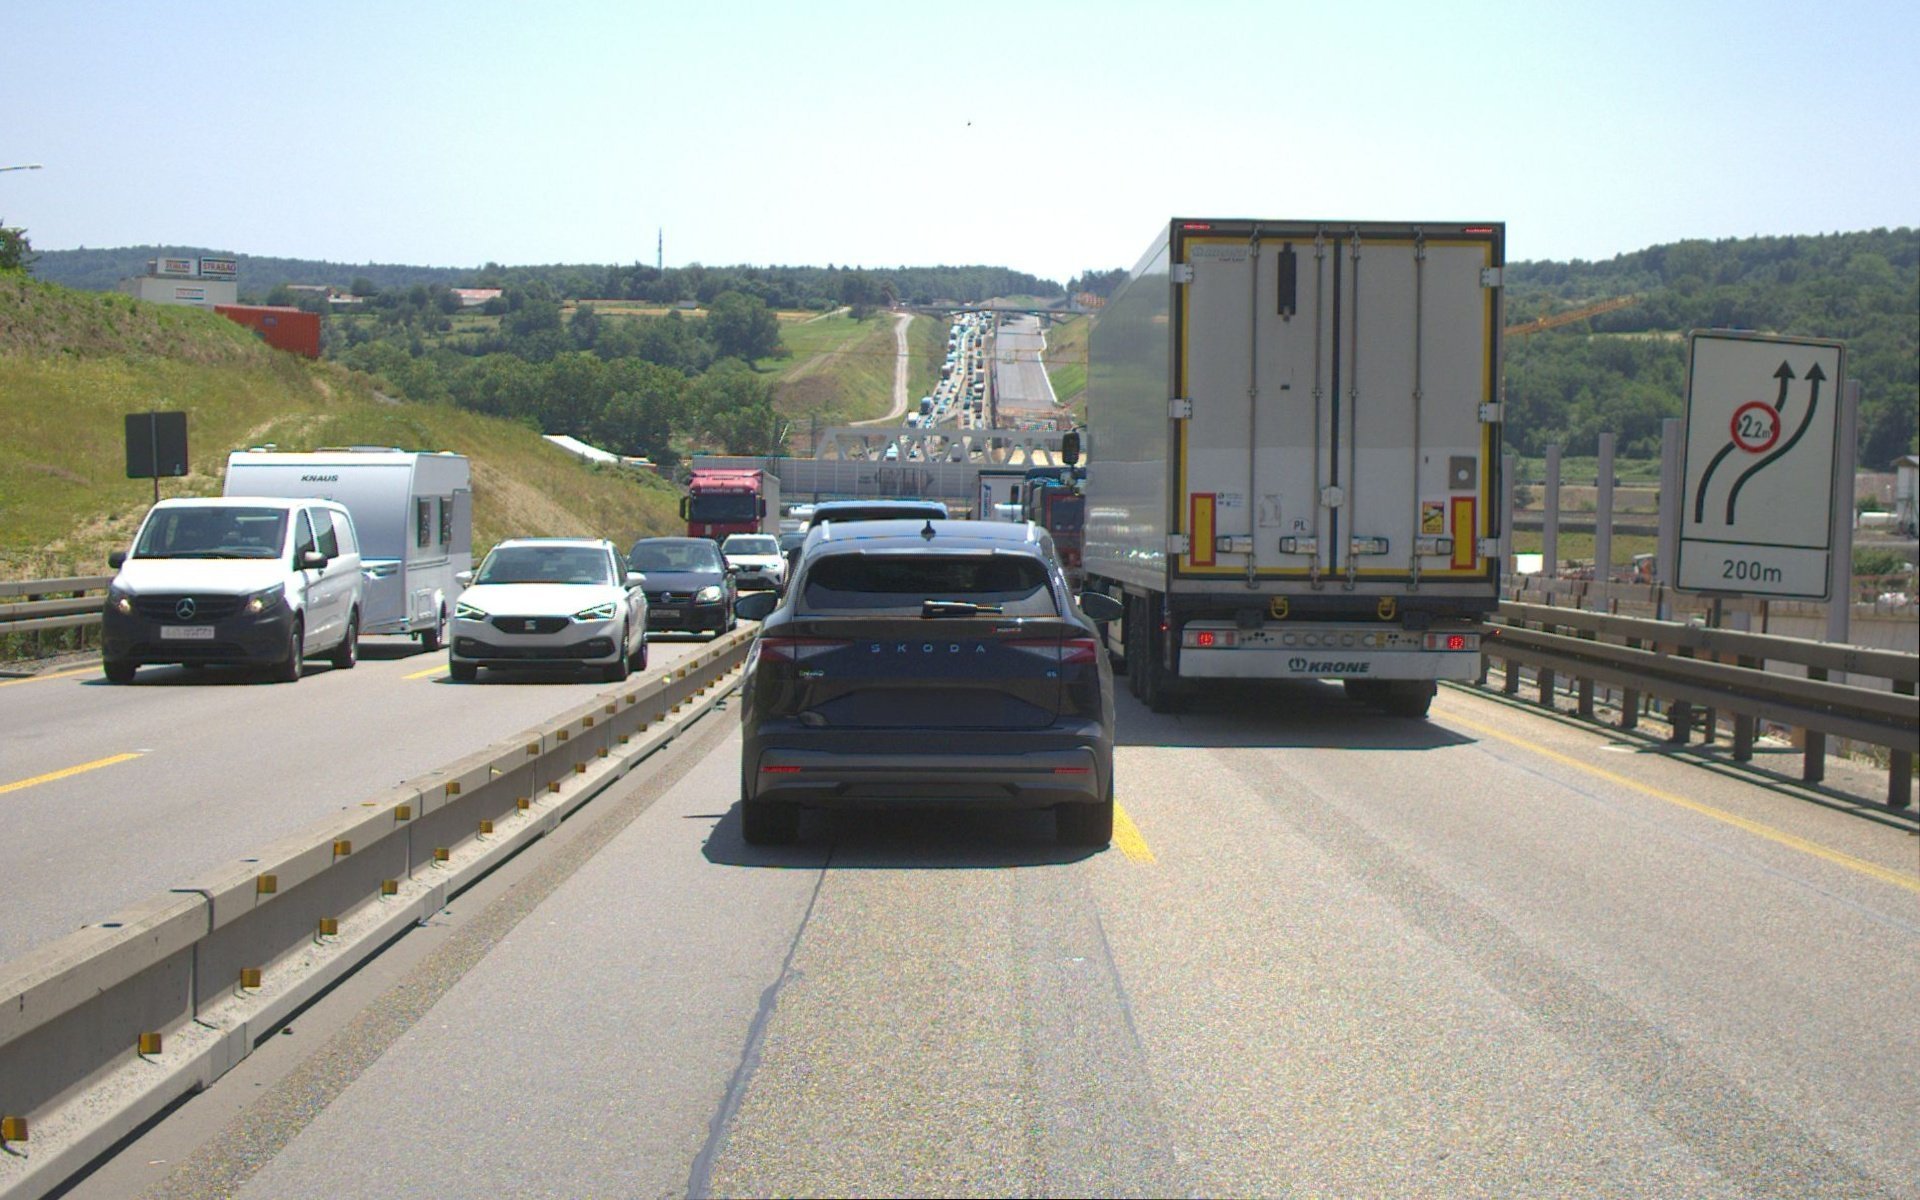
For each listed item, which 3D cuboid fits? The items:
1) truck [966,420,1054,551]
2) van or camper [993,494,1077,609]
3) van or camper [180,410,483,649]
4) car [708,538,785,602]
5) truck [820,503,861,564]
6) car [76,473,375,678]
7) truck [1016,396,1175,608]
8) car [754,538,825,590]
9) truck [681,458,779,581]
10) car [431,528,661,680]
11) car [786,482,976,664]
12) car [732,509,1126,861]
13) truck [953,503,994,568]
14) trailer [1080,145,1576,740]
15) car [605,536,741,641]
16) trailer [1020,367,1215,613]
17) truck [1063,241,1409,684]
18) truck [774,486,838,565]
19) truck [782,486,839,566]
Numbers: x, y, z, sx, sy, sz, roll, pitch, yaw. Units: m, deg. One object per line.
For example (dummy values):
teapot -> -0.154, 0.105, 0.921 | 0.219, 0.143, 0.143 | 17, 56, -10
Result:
truck -> 1.796, -4.187, 128.631 | 2.852, 4.450, 11.918 | 1, 0, -1
van or camper -> 2.243, -1.377, 101.541 | 2.389, 3.269, 6.468 | 1, 0, 2
van or camper -> -7.620, -0.877, 42.608 | 2.357, 2.667, 7.858 | 0, 1, 0
car -> -5.134, -0.742, 83.157 | 1.792, 1.513, 3.999 | 0, 1, -2
truck -> -8.944, -4.953, 258.325 | 2.852, 4.323, 11.918 | 1, 0, -1
car -> -7.579, -0.292, 36.018 | 1.993, 1.964, 5.343 | 1, 1, 0
truck -> 2.976, -2.099, 77.904 | 3.180, 4.498, 8.165 | 1, 0, 0
car -> -5.146, -1.109, 104.362 | 1.993, 1.525, 4.000 | 0, 1, -1
truck -> -8.224, -2.802, 124.301 | 2.852, 4.125, 11.918 | 1, 0, -1
car -> -4.283, -0.008, 36.210 | 1.912, 1.475, 4.637 | 0, 1, -1
car -> -0.866, -0.287, 38.900 | 1.993, 1.919, 4.508 | 1, 0, -1
car -> -0.134, 0.375, 17.897 | 1.802, 1.602, 4.000 | 1, 0, 0
truck -> 0.865, -4.347, 232.470 | 2.640, 4.179, 9.284 | 1, 0, 0
trailer -> 3.035, -1.357, 32.818 | 3.180, 4.497, 13.109 | 1, 1, 0
car -> -4.040, -0.196, 48.838 | 1.665, 1.408, 3.818 | 1, 1, -1
trailer -> 3.032, -2.017, 70.920 | 3.180, 4.498, 14.967 | 1, 0, 0
truck -> 2.947, -1.507, 39.333 | 3.180, 4.497, 8.166 | 1, 1, 0
truck -> -7.833, -3.734, 175.748 | 2.852, 3.769, 11.918 | 1, 0, -1
truck -> -8.597, -4.181, 198.767 | 2.852, 4.323, 11.918 | 1, 0, -1
